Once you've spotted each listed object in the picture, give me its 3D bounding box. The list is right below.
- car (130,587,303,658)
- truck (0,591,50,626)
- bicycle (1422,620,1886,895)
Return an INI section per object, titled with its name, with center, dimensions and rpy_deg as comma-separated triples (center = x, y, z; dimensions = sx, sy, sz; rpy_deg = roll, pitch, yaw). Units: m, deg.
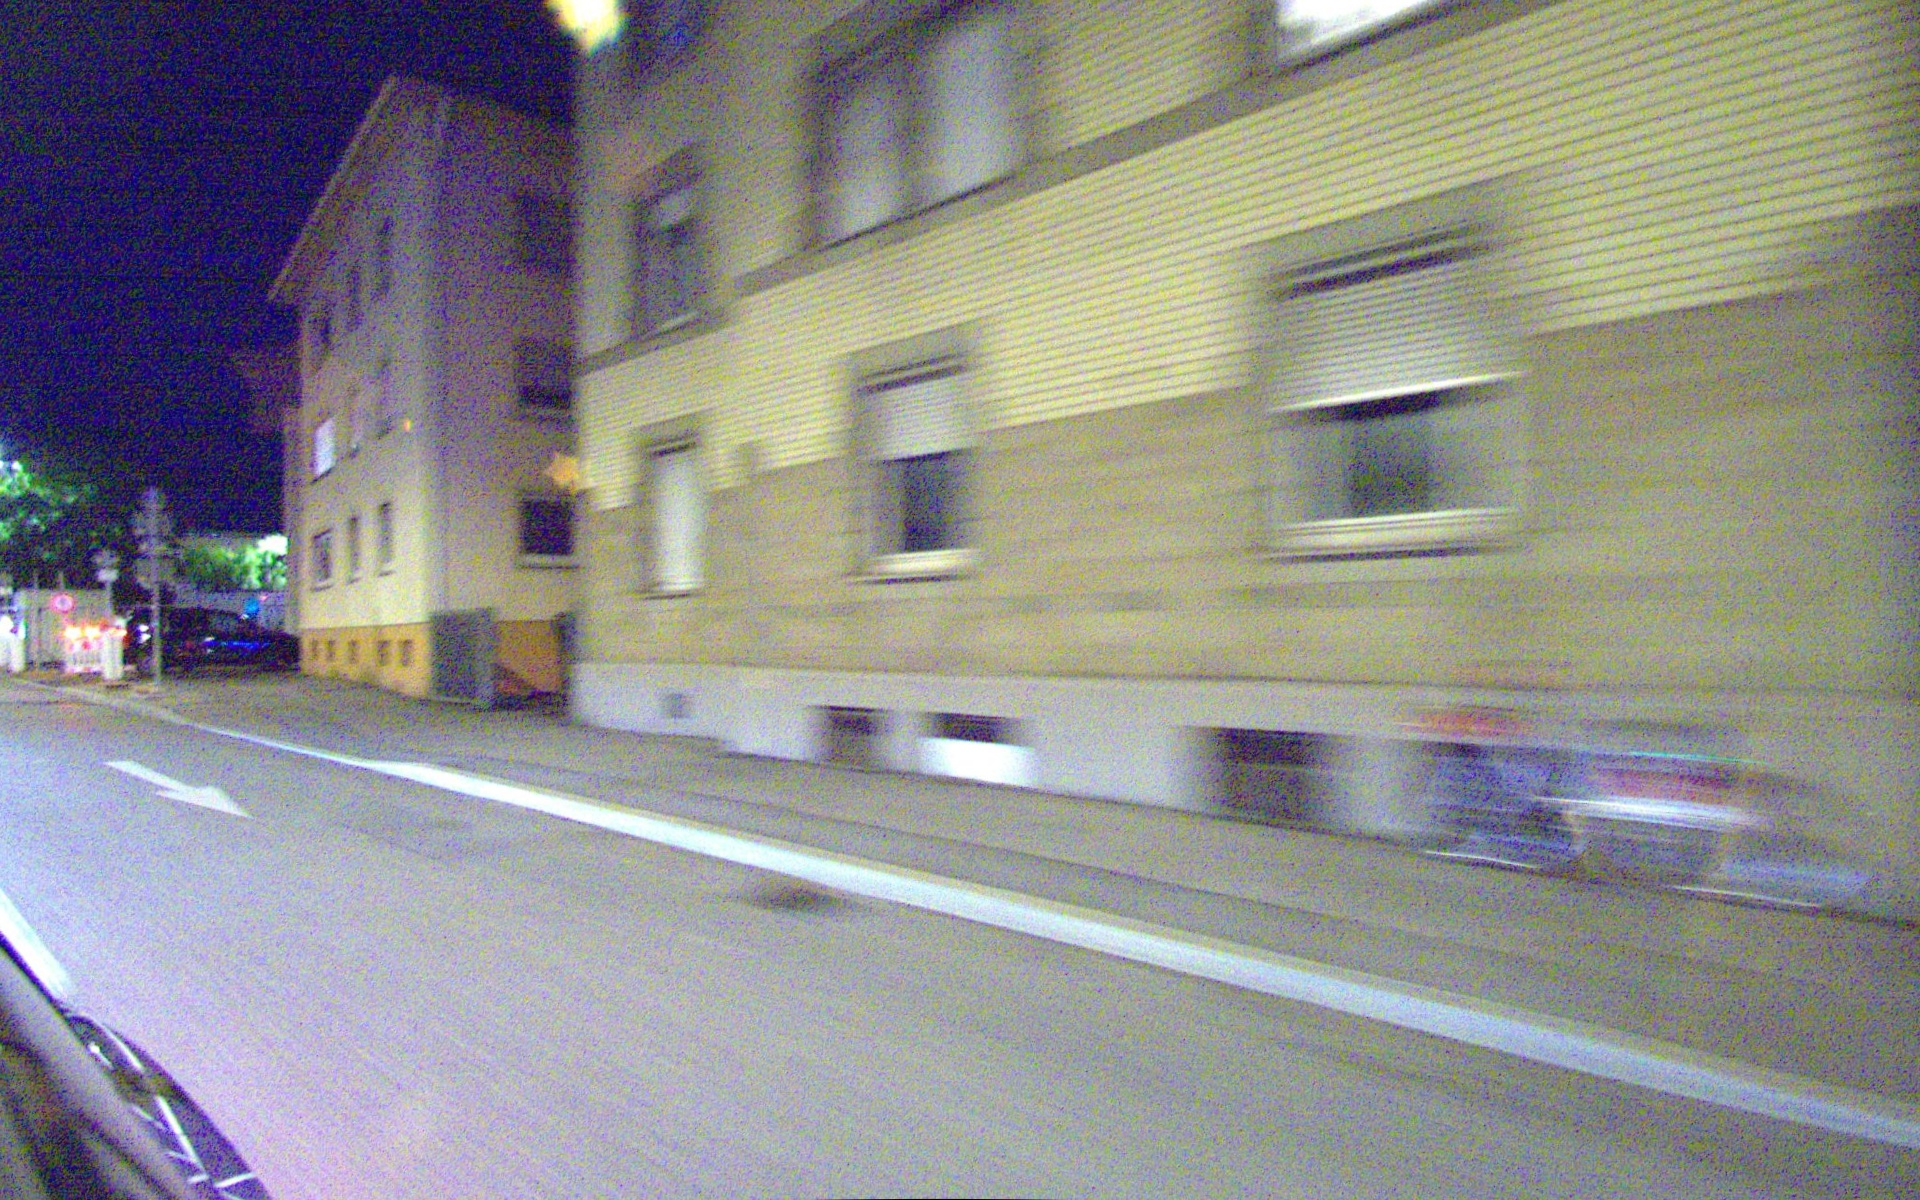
[car]
center = -21.460, 0.623, 29.351
dimensions = 3.934, 1.903, 1.913
rpy_deg = 0, -1, -37
[truck]
center = -100.156, 0.888, 106.663
dimensions = 6.105, 3.722, 2.407
rpy_deg = 0, -1, -37
[bicycle]
center = 3.175, 0.631, 4.764
dimensions = 1.721, 1.059, 0.613
rpy_deg = -1, -1, 42
